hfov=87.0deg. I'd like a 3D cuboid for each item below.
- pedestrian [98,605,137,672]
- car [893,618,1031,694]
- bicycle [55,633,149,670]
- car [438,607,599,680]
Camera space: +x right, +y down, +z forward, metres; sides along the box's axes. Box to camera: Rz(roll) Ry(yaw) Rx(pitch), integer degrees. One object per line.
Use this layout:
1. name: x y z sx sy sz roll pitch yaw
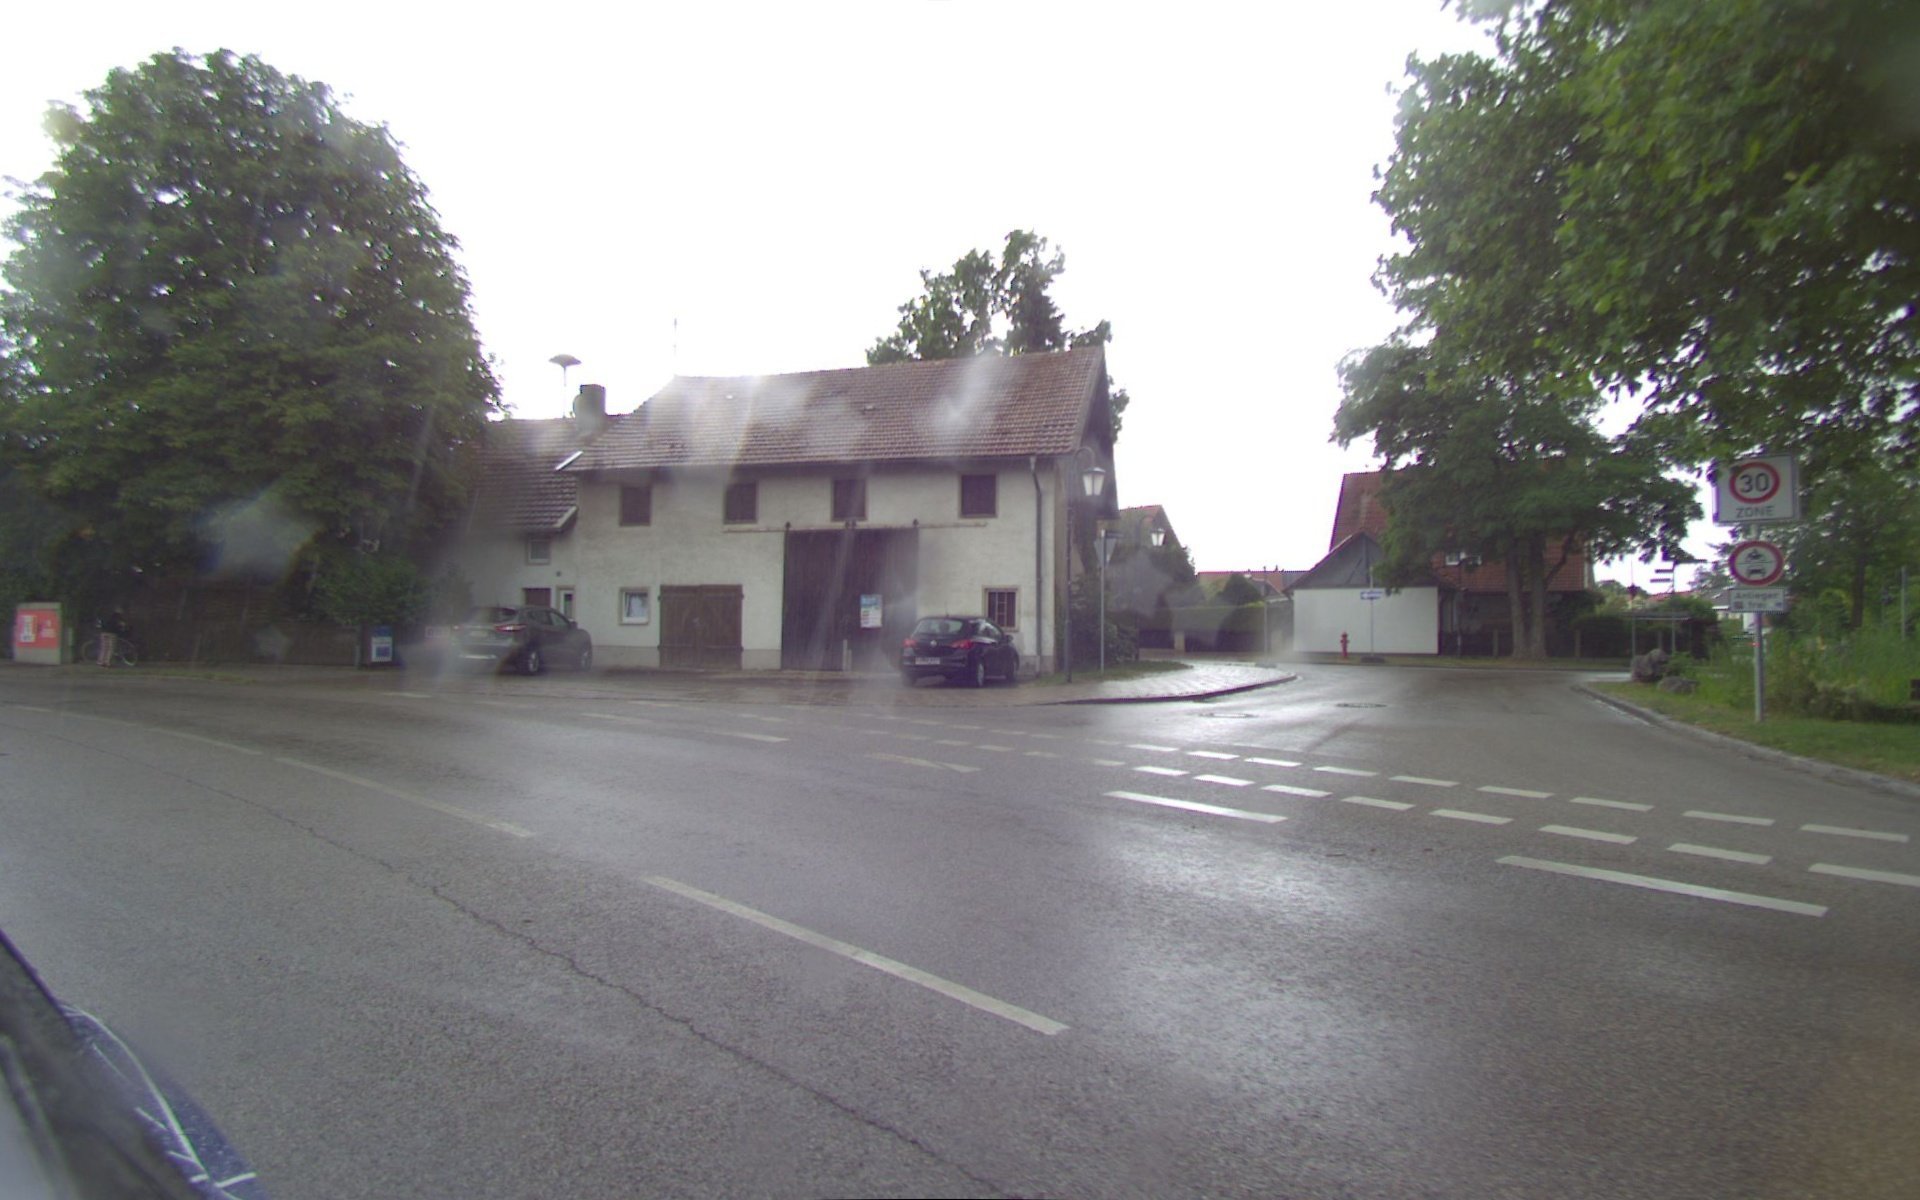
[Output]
1. pedestrian: -20.860 0.936 25.063 0.642 1.640 0.480 1 -1 -28
2. car: 0.164 1.111 21.596 1.805 1.447 4.257 0 -1 17
3. bicycle: -21.919 1.311 25.859 1.848 0.909 0.664 0 -1 1
4. car: -10.281 1.040 23.969 1.793 1.560 4.278 0 -3 2
